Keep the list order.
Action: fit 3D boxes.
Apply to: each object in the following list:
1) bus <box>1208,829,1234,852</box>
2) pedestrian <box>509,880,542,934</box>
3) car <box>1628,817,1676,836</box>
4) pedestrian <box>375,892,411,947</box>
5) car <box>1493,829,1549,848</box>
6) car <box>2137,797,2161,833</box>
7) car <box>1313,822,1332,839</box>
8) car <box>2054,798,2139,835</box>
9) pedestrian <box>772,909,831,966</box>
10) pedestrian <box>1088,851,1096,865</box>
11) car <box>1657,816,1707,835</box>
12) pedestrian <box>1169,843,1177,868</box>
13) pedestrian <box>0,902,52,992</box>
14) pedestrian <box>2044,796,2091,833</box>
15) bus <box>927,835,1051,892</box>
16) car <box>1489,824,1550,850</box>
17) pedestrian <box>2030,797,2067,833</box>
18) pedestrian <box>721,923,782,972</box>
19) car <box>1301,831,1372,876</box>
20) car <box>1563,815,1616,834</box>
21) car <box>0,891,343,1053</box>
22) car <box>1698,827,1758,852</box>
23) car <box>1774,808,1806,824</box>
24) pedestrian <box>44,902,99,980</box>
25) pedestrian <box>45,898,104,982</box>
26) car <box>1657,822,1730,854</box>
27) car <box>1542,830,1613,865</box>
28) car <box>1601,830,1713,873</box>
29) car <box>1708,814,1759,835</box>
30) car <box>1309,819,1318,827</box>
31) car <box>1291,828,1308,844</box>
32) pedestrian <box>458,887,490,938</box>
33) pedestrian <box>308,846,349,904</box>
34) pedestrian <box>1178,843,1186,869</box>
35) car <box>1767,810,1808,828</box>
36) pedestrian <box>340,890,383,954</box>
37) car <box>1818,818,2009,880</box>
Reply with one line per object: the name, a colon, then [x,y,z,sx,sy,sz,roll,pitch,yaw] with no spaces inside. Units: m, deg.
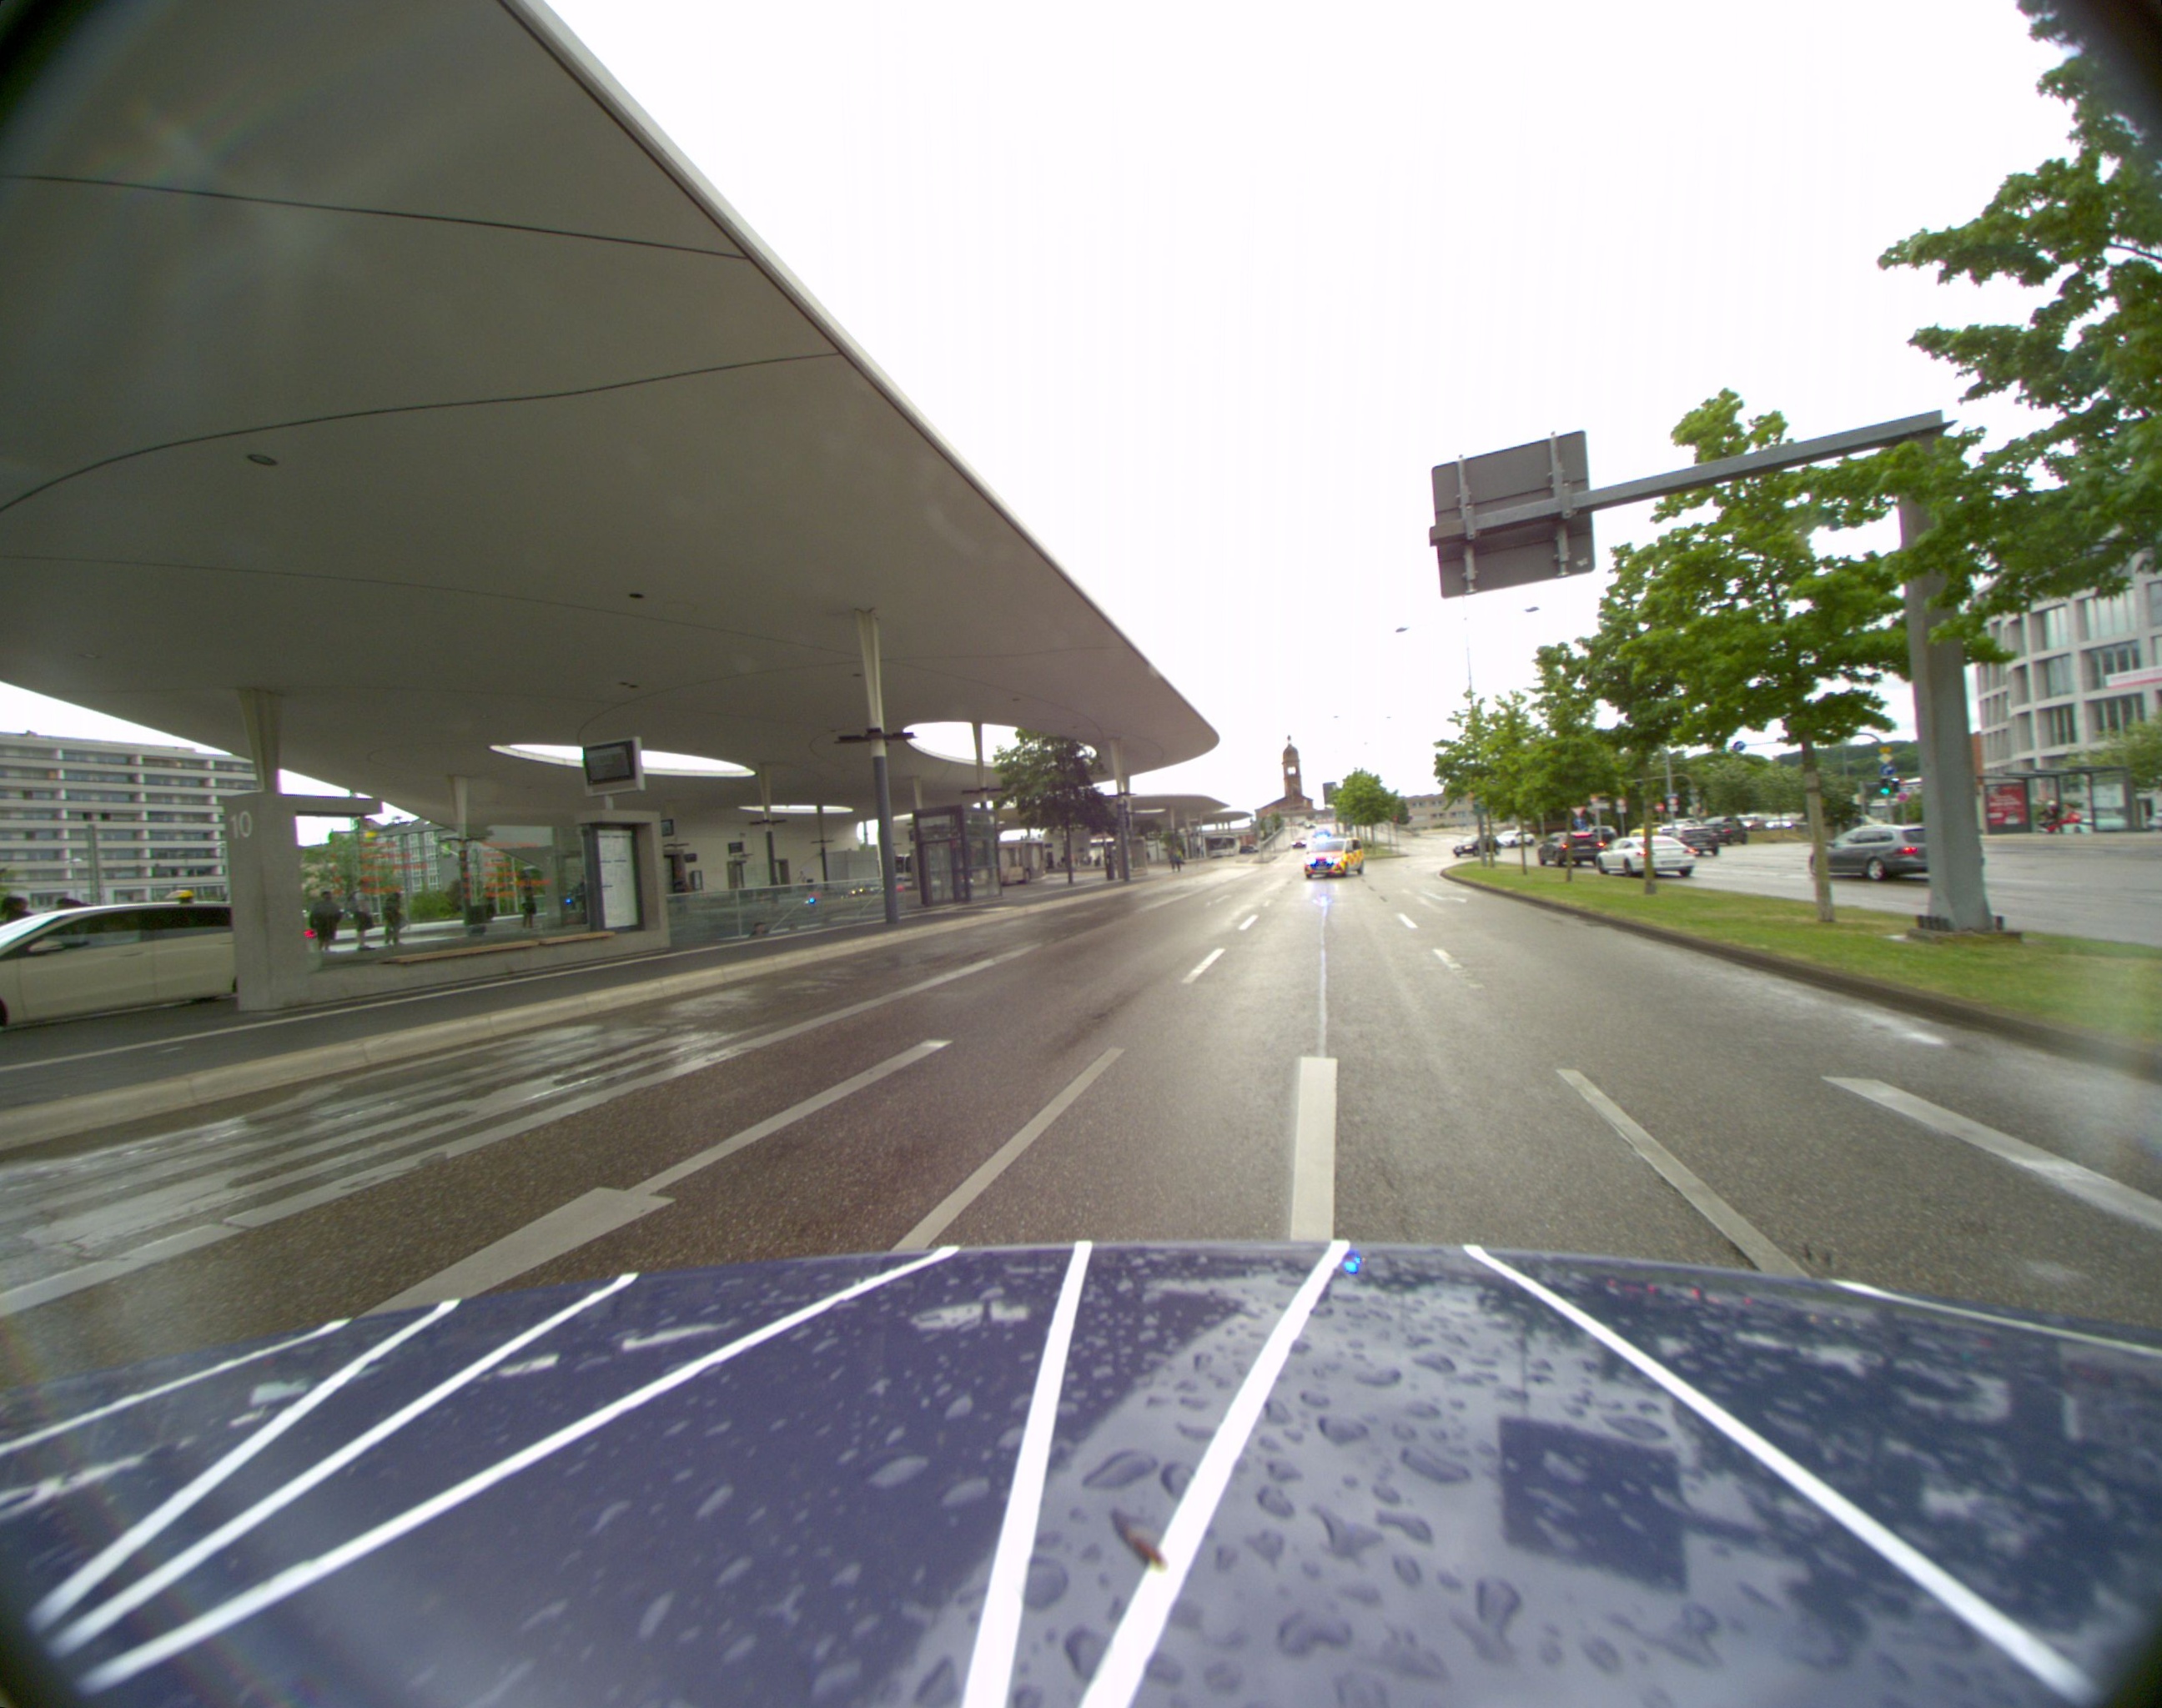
bus: [21.020,-2.010,114.525,3.580,3.080,10.761,-3,0,10]
pedestrian: [-16.179,1.534,22.128,0.478,1.505,0.536,-3,1,22]
car: [54.818,-2.654,72.956,4.306,1.625,1.873,-3,1,-25]
pedestrian: [-19.588,1.854,21.644,0.478,1.505,0.526,-3,1,22]
car: [39.787,-1.401,68.777,4.048,1.550,1.811,-2,1,-5]
car: [53.023,-1.936,36.600,4.162,1.692,1.873,-3,1,-26]
car: [31.070,-3.007,97.893,1.996,2.002,4.003,-2,1,13]
car: [51.982,-1.929,38.885,4.162,1.692,1.873,-3,1,-26]
pedestrian: [-6.799,2.013,18.540,0.881,1.268,0.959,-2,1,22]
pedestrian: [1.635,0.536,108.662,1.024,2.002,0.880,-2,1,-2]
car: [55.504,-2.641,70.206,4.306,1.625,1.873,-3,1,-25]
pedestrian: [6.368,0.103,52.663,0.445,1.753,0.537,-3,1,12]
pedestrian: [-18.601,1.625,13.332,0.534,1.505,0.480,-3,1,23]
pedestrian: [40.956,-1.632,31.559,0.982,1.481,0.735,-2,2,28]
bus: [-5.457,0.402,48.411,2.872,3.064,11.935,-2,1,18]
car: [32.227,-1.236,55.842,4.162,1.692,1.873,-3,1,-26]
pedestrian: [41.360,-1.662,32.501,0.732,1.481,0.735,-2,2,27]
pedestrian: [-7.981,2.257,18.435,0.881,1.048,0.959,-2,1,22]
car: [12.755,-0.051,37.688,1.994,2.002,5.071,-1,1,34]
car: [48.856,-2.815,72.973,4.159,1.624,1.874,-3,0,-15]
car: [-13.383,1.507,10.165,1.996,1.671,4.547,-2,1,18]
car: [43.599,-1.023,51.319,1.882,1.545,4.007,-2,1,21]
car: [77.551,-4.117,83.131,4.164,1.625,1.872,-3,1,-37]
pedestrian: [-20.476,1.744,15.426,0.480,1.505,0.534,-4,1,-37]
pedestrian: [-18.878,1.604,14.255,0.534,1.505,0.480,-3,1,23]
car: [32.320,-0.874,40.234,1.882,1.545,4.007,-2,1,21]
car: [23.894,-0.363,36.751,2.007,1.545,4.170,-2,1,21]
car: [20.420,-0.125,27.154,2.007,1.345,4.169,-2,1,19]
car: [56.966,-2.568,66.318,4.162,1.625,1.873,-3,1,-25]
car: [49.751,-6.720,162.682,1.547,1.552,3.653,-2,1,13]
car: [28.570,-2.394,99.247,1.996,2.002,4.004,-2,1,15]
pedestrian: [-18.465,1.776,23.116,0.478,1.505,0.526,-3,1,22]
pedestrian: [-19.993,0.560,20.198,0.478,1.505,0.567,-3,1,22]
pedestrian: [6.990,0.120,52.499,0.445,1.753,0.537,-3,1,12]
car: [71.675,-3.582,77.117,4.163,1.625,1.872,-3,1,-30]
pedestrian: [-17.381,1.637,18.368,0.478,1.505,0.536,-3,1,22]
car: [22.366,-0.169,20.683,1.696,1.457,4.457,-2,1,21]
